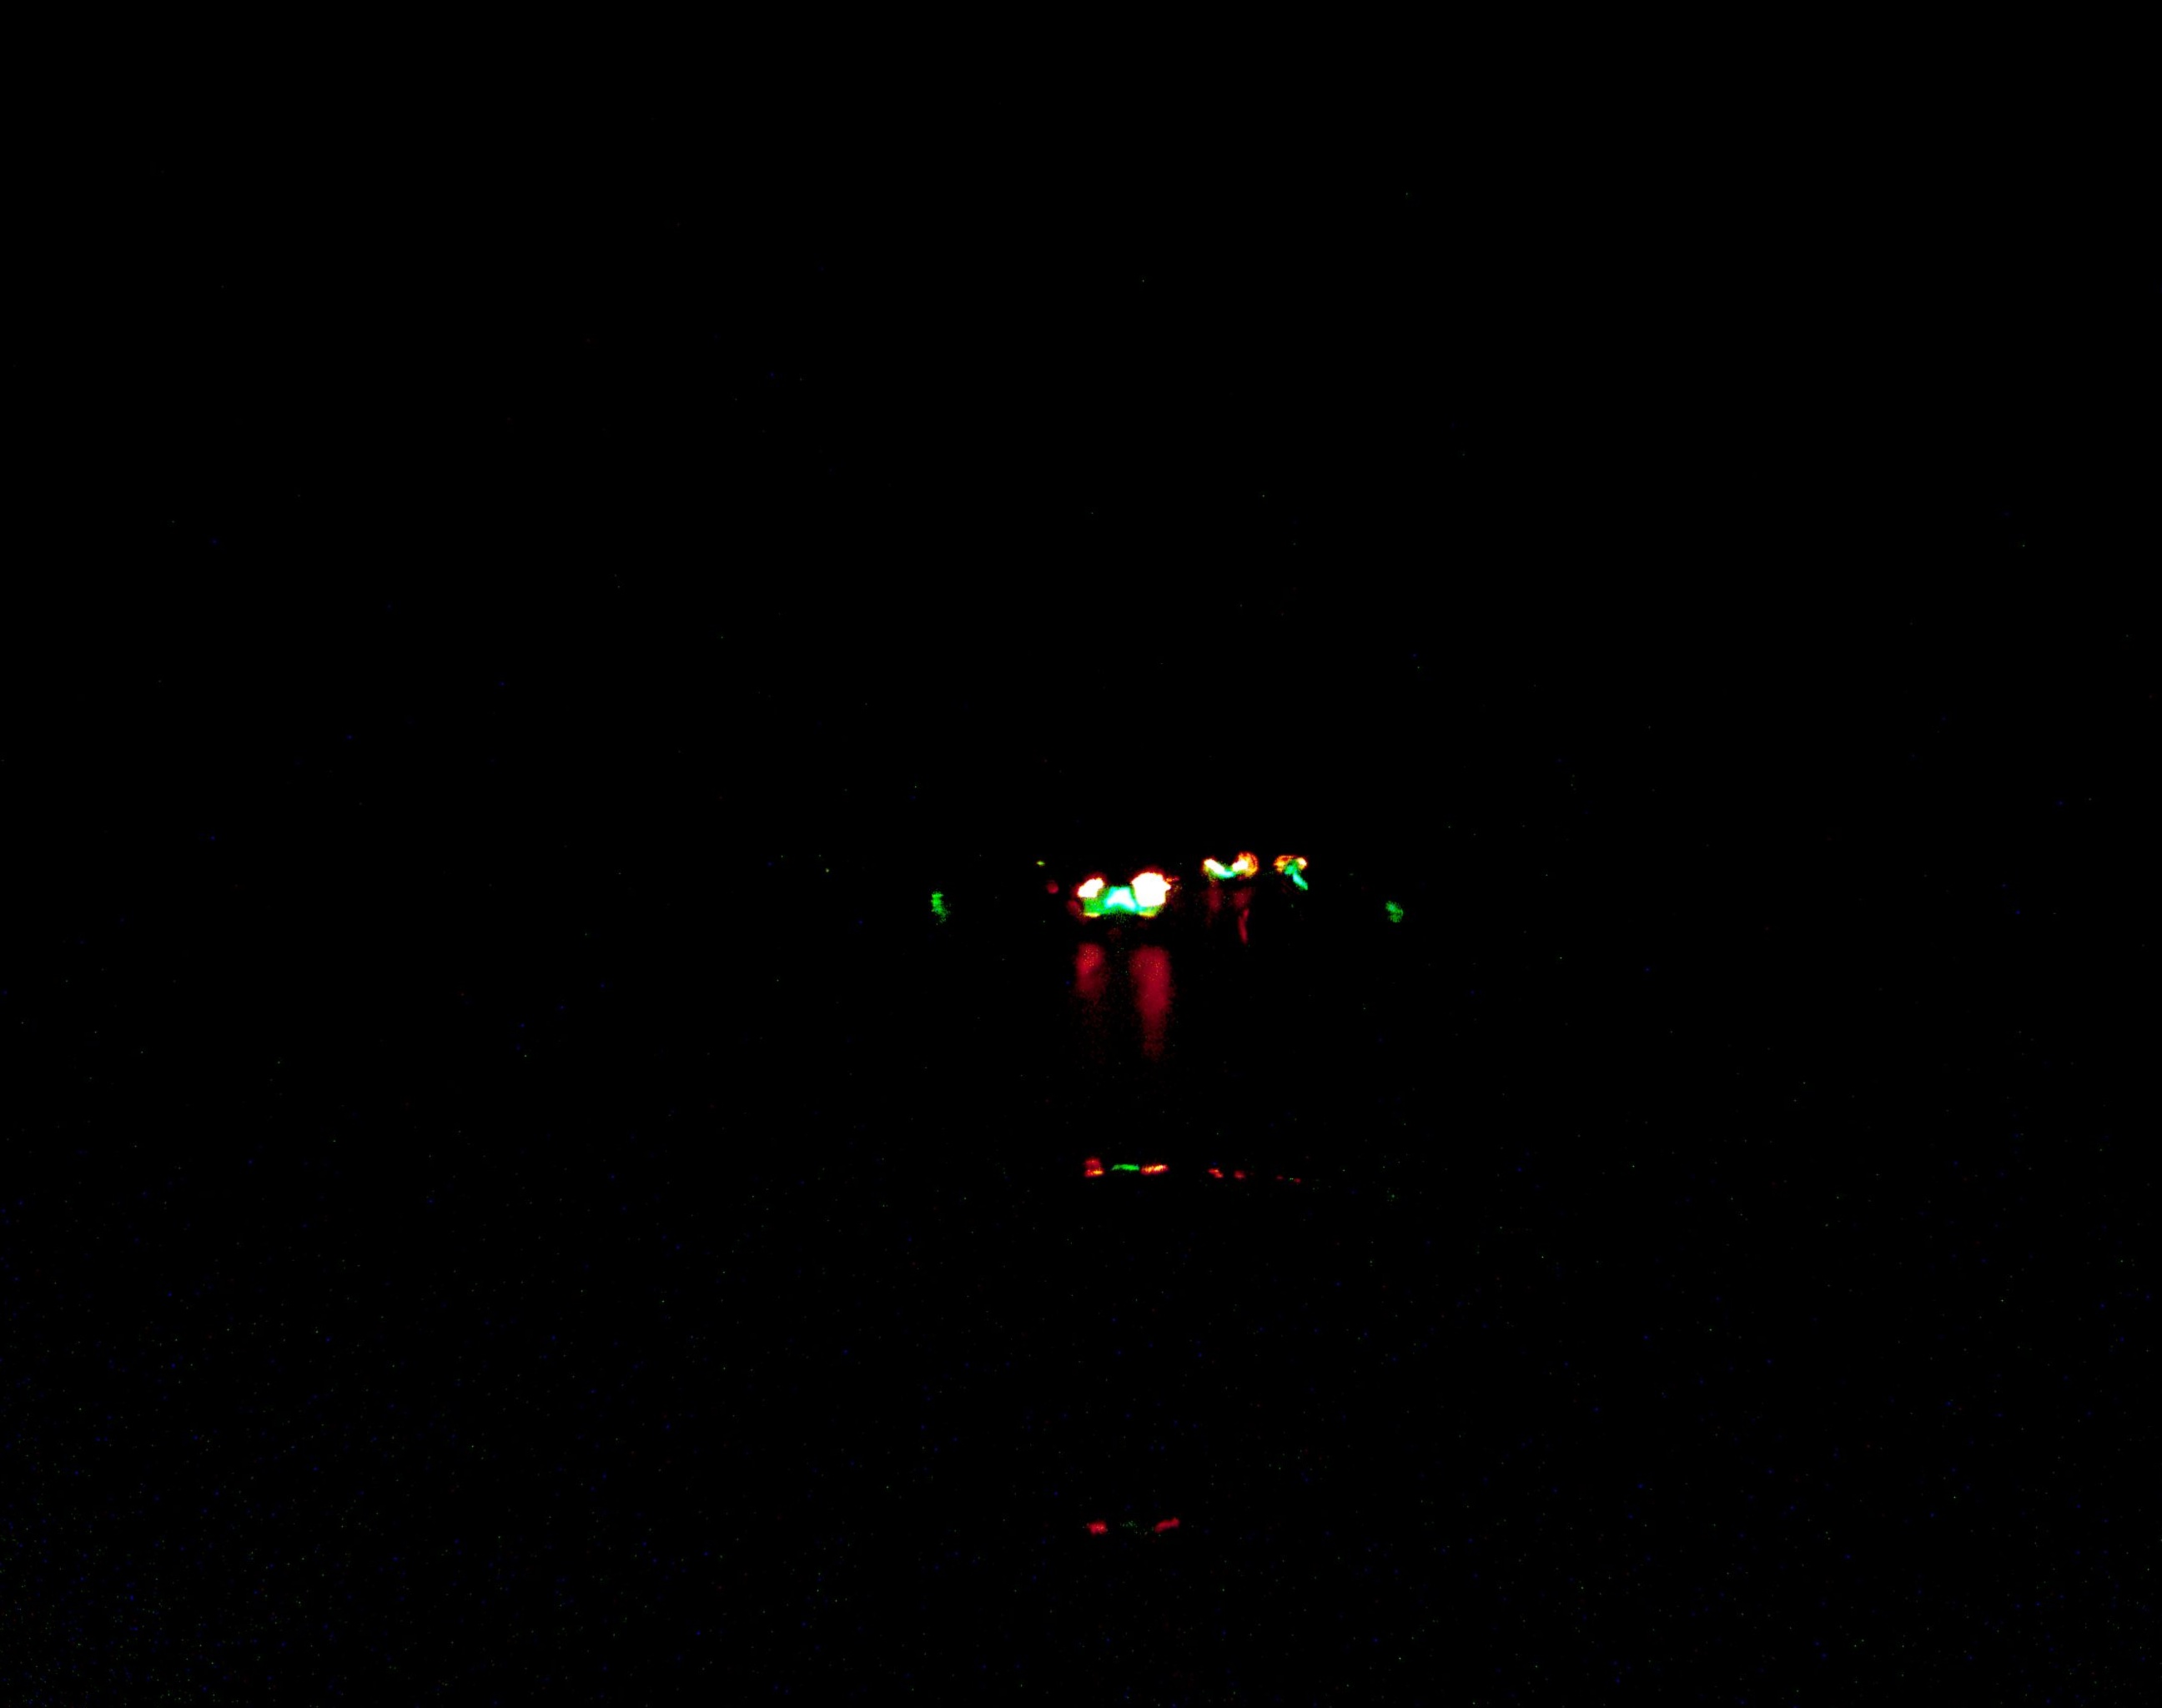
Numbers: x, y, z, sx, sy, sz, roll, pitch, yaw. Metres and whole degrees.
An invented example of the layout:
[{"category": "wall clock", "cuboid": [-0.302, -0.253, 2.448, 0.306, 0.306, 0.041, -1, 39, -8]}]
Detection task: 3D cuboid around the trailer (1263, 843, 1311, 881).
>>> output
[{"category": "trailer", "cuboid": [13.112, 0.507, 51.223, 2.061, 2.014, 10.696, -4, -2, 18]}]
